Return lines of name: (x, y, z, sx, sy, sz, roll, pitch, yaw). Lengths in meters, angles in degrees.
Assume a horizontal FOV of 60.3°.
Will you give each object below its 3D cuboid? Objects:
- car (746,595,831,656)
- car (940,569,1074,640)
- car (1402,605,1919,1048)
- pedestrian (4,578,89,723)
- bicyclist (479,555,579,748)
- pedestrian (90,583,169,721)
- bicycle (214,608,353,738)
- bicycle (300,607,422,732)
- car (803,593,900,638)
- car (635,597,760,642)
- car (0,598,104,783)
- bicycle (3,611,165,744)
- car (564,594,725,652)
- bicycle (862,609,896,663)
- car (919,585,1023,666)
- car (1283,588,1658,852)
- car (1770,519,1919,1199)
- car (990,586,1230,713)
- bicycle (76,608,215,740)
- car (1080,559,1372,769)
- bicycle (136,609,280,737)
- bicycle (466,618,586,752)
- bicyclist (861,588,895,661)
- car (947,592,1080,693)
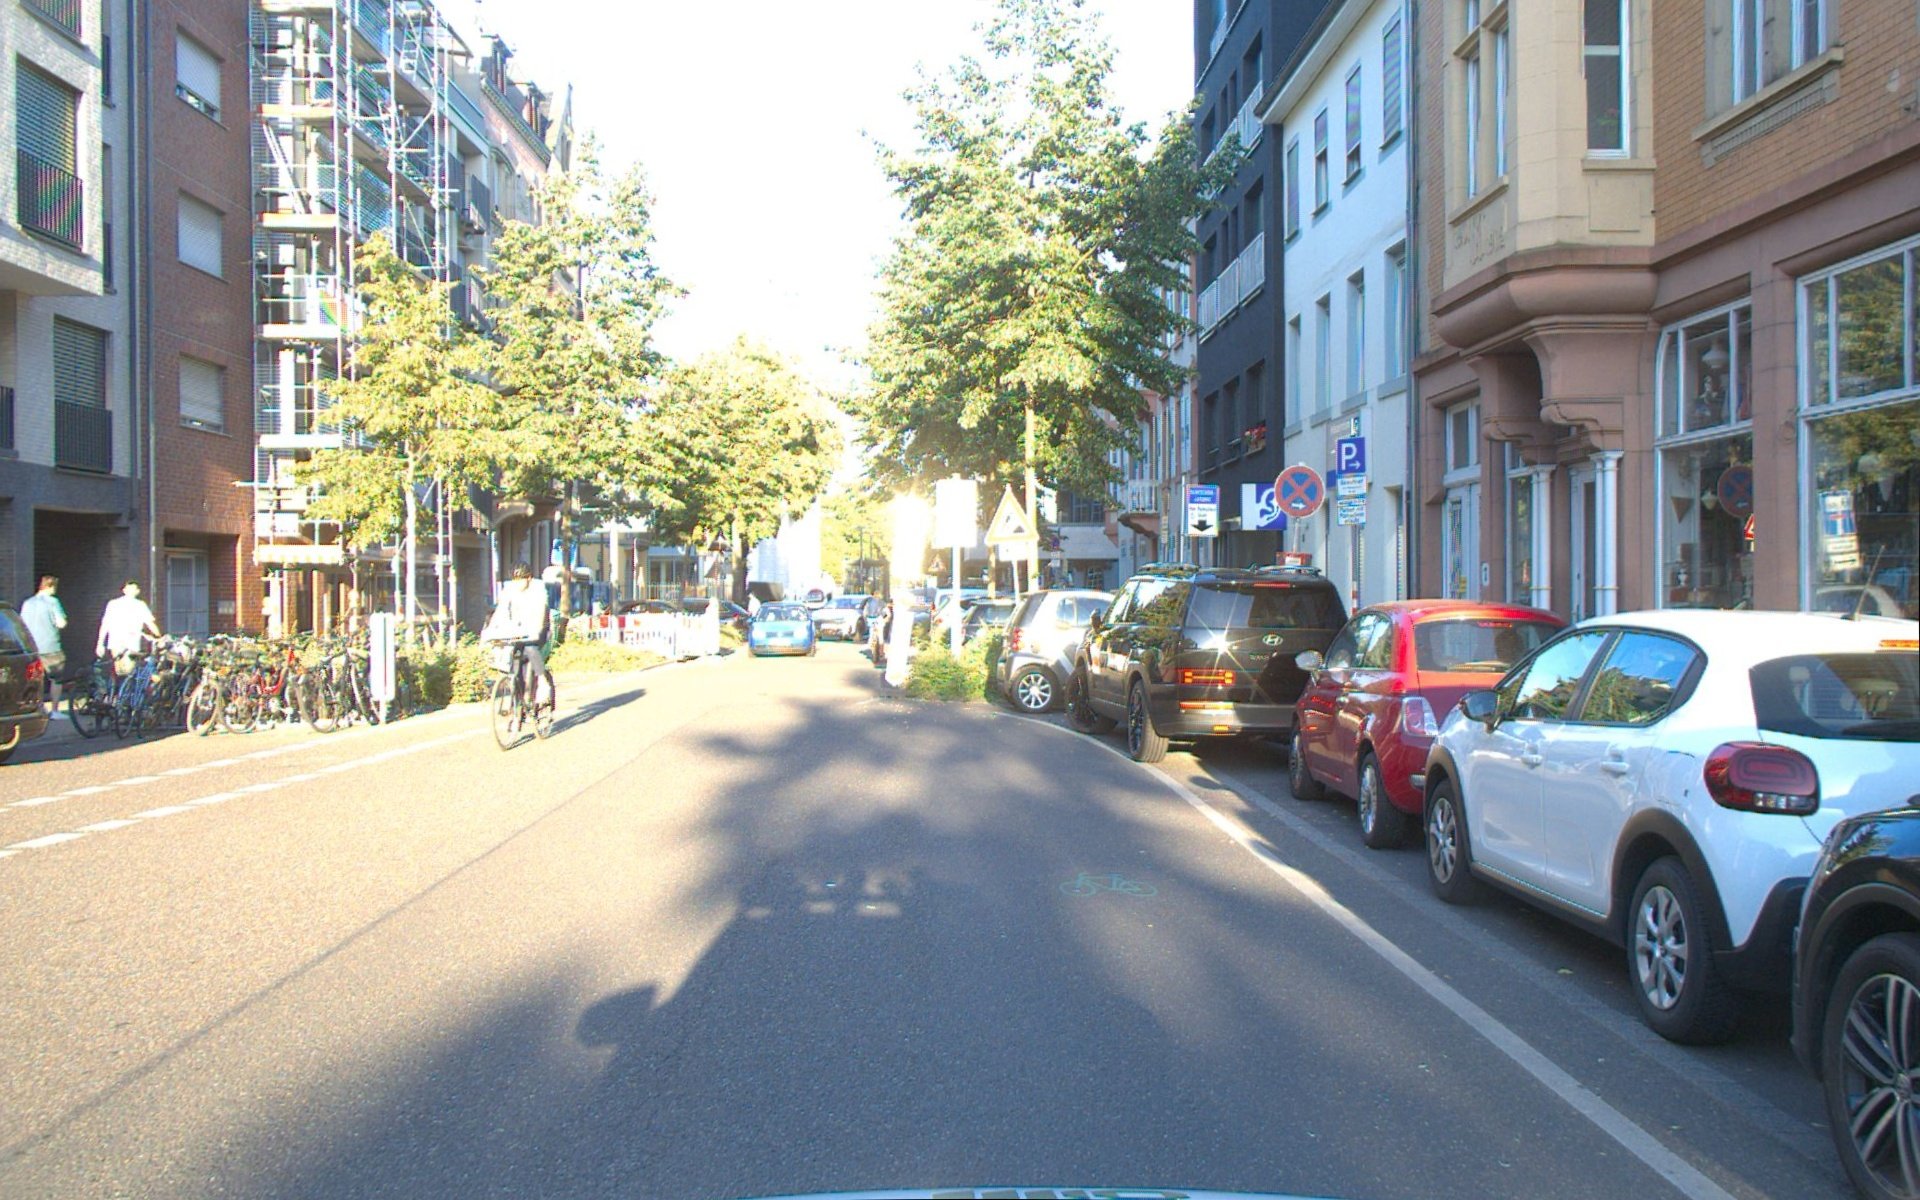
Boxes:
car: (-4.508, 0.640, 43.996, 1.801, 1.466, 4.331, -3, 0, -1)
car: (1.407, 0.132, 49.386, 3.904, 2.049, 2.001, 0, 0, 2)
car: (3.273, 0.737, 7.181, 1.633, 1.402, 3.801, 1, 0, -1)
pedestrian: (-11.521, 0.628, 20.880, 0.703, 1.798, 0.692, 1, -1, -10)
bicyclist: (-4.315, 0.499, 16.623, 0.765, 1.861, 1.006, -1, 0, -4)
pedestrian: (-10.880, 0.671, 21.688, 0.703, 1.771, 0.737, 1, -1, -10)
bicycle: (-8.065, 0.810, 19.874, 0.876, 1.420, 3.159, 0, 0, -10)
bicycle: (-7.197, 0.779, 20.037, 0.829, 1.374, 3.179, -1, 0, -10)
car: (-3.841, 0.550, 59.441, 1.845, 1.506, 4.460, 1, 0, 20)
car: (-9.074, 0.674, 57.369, 4.018, 1.491, 1.889, 1, 0, 0)
car: (-10.655, 0.773, 15.331, 4.400, 1.629, 2.001, 1, 0, 4)
bicycle: (-10.222, 0.849, 19.442, 0.708, 1.420, 3.146, 1, 0, -10)
car: (-8.612, 0.632, 45.432, 4.018, 1.491, 1.889, 1, 0, 0)
bicycle: (-1.951, 0.846, 39.775, 0.765, 1.225, 2.019, -1, 0, -4)
car: (0.228, 0.647, 43.653, 2.221, 1.796, 4.505, 6, -1, -5)
car: (3.294, 0.705, 11.269, 1.554, 1.509, 3.266, 1, 0, 0)
car: (3.197, 0.663, 2.553, 1.775, 1.697, 4.205, 1, 0, -1)
car: (1.919, 0.634, 21.605, 2.911, 1.563, 1.432, 1, 0, -6)
bicycle: (-9.569, 0.818, 19.570, 0.574, 1.420, 3.153, 1, 0, -10)
car: (2.384, 0.544, 15.965, 1.789, 1.725, 4.364, 1, 0, -4)
bicycle: (-8.893, 0.813, 19.710, 0.766, 1.397, 3.135, 1, 0, -10)
bicycle: (-4.314, 0.814, 16.594, 0.765, 1.225, 2.019, -1, 0, -4)
bicyclist: (-1.971, 0.590, 39.820, 0.765, 1.726, 1.006, -1, 0, -4)
car: (0.894, 0.736, 30.354, 1.954, 1.697, 4.505, 1, 0, -4)
